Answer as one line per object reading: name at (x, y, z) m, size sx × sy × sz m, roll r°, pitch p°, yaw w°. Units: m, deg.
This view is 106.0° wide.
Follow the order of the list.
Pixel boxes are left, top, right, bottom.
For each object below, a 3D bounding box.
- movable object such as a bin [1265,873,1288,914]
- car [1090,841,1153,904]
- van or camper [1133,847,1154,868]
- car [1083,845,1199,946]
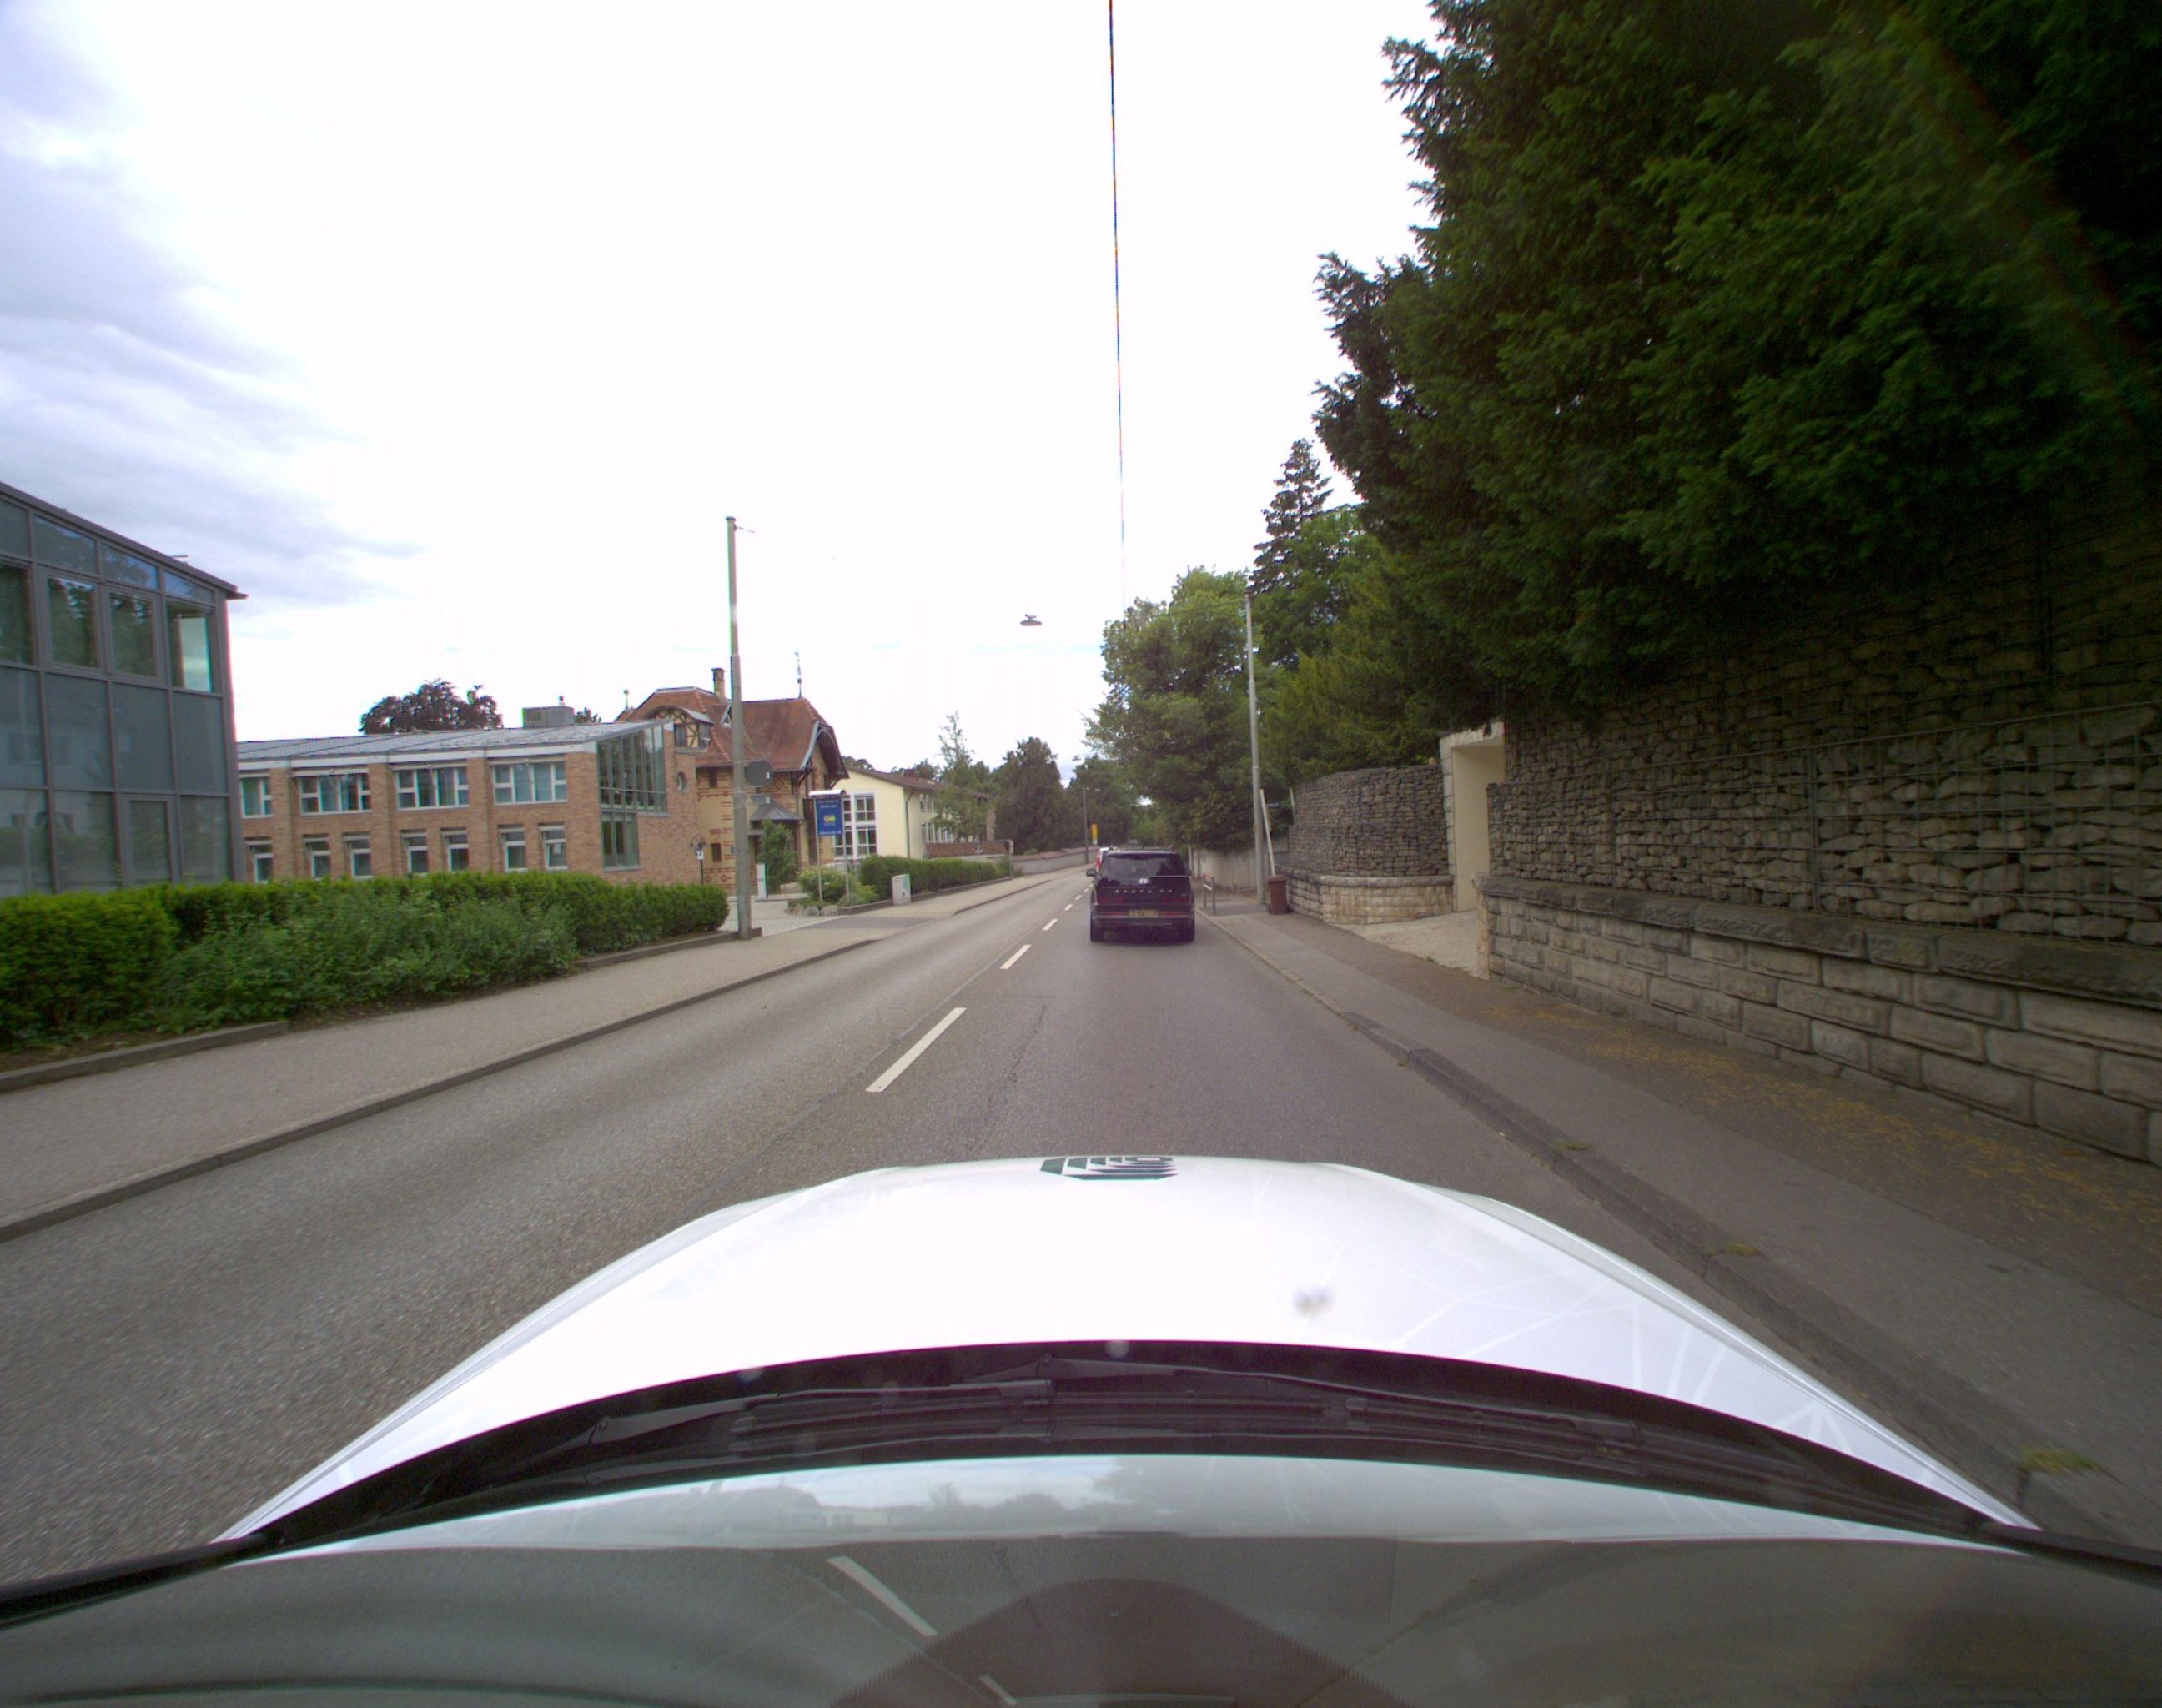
movable object such as a bin at (4.598, 0.933, 19.165) m, size 0.442 × 0.910 × 0.395 m, roll -6°, pitch -1°, yaw 12°
car at (1.325, 0.556, 28.239) m, size 1.951 × 1.955 × 4.223 m, roll 0°, pitch 2°, yaw -1°
van or camper at (6.589, 0.360, 85.950) m, size 1.665 × 2.007 × 3.950 m, roll -3°, pitch 1°, yaw 11°
car at (1.137, 0.697, 15.967) m, size 1.949 × 1.713 × 4.227 m, roll 0°, pitch 0°, yaw 3°
